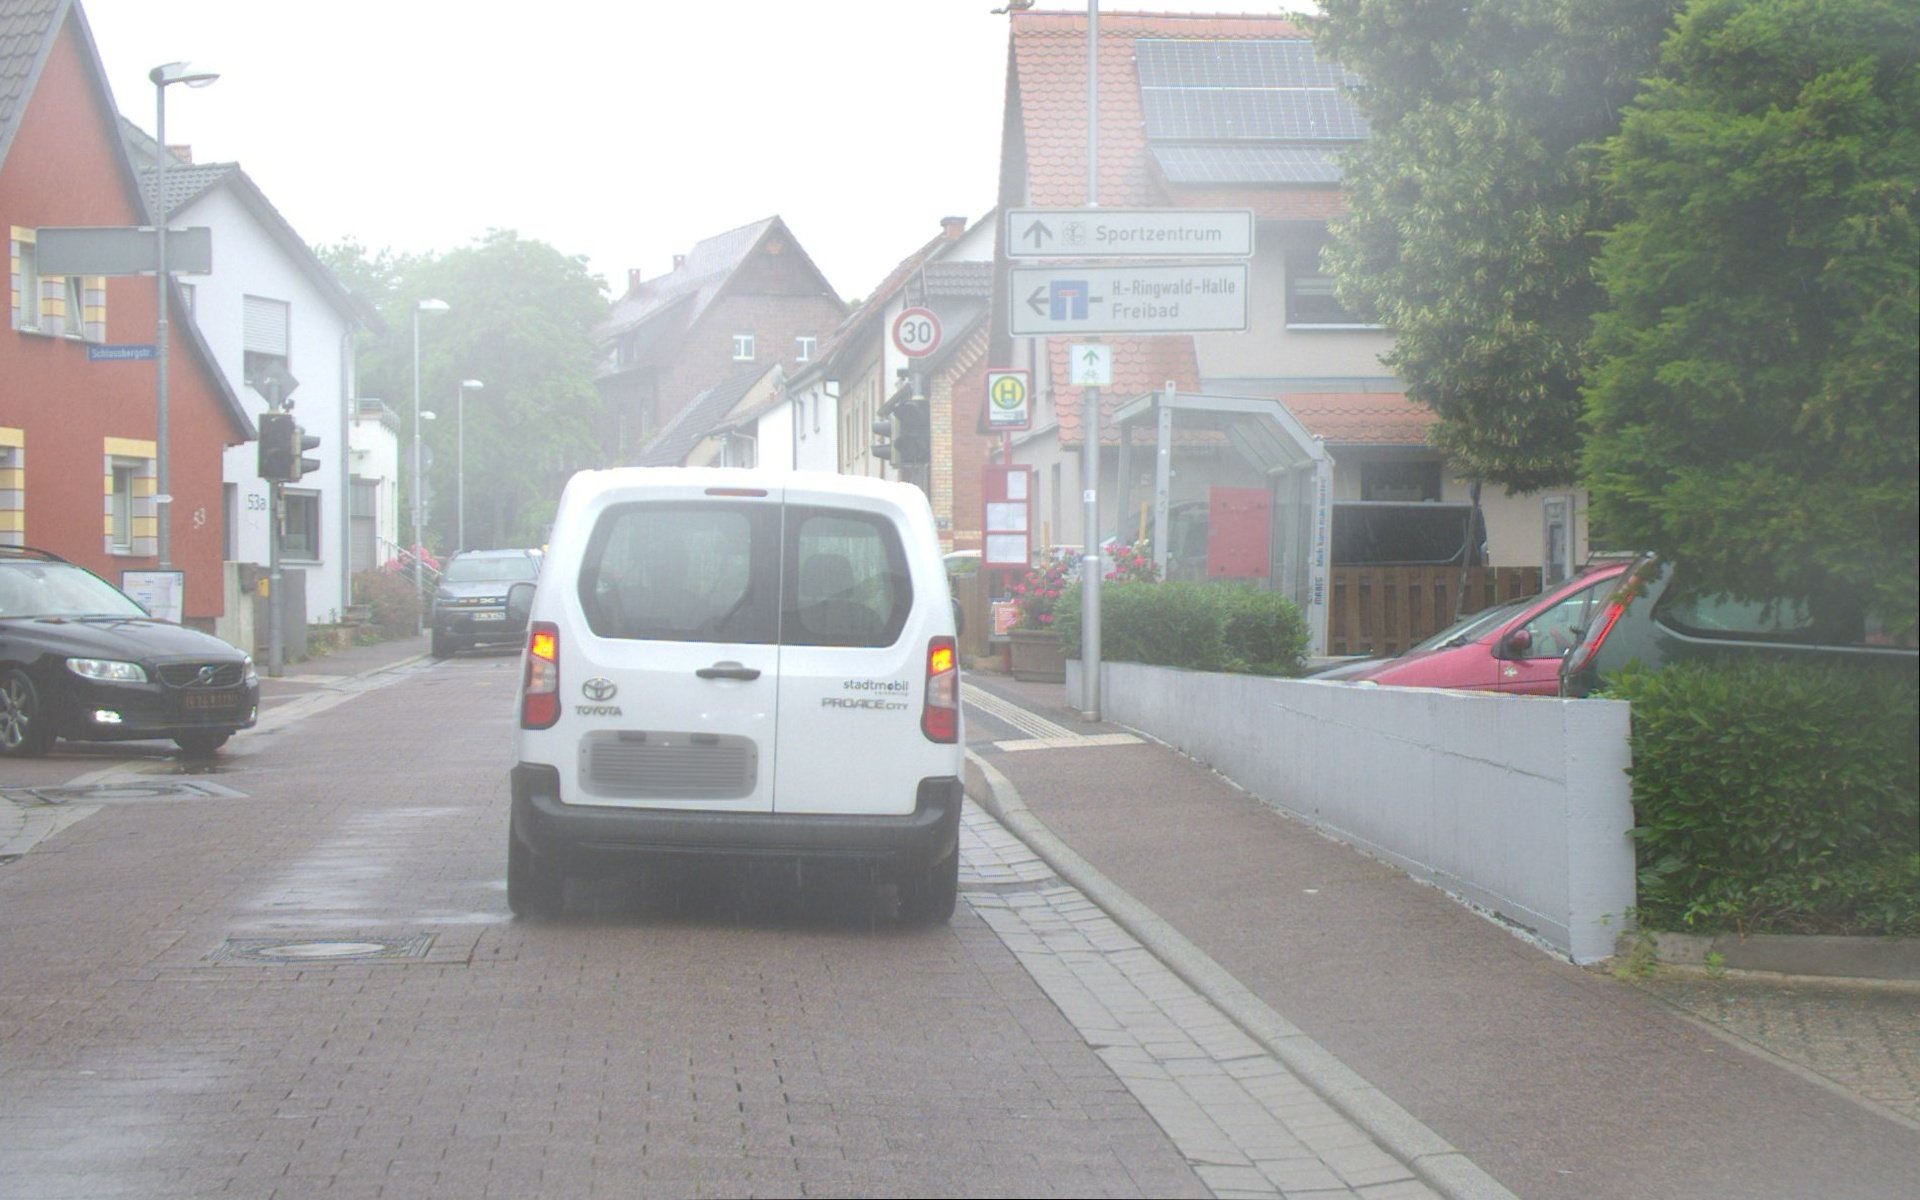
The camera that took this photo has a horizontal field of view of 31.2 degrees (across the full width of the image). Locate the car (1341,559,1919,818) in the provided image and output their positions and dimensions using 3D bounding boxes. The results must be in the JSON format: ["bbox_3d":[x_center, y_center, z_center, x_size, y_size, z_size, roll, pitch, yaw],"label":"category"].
[{"bbox_3d":[4.564,0.531,22.260,4.070,1.584,1.857,0,1,10],"label":"car"}]

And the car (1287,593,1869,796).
[{"bbox_3d":[4.380,0.661,24.826,3.952,1.374,1.751,0,1,3],"label":"car"}]

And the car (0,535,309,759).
[{"bbox_3d":[-6.994,0.268,24.857,4.307,1.472,1.847,2,0,30],"label":"car"}]

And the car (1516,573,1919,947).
[{"bbox_3d":[4.485,0.632,14.334,4.230,1.475,1.694,0,0,11],"label":"car"}]

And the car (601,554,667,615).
[{"bbox_3d":[-10.693,-0.539,112.669,1.993,1.741,4.002,2,3,-7],"label":"car"}]

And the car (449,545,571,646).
[{"bbox_3d":[-7.861,-0.075,60.342,1.748,1.631,4.419,-3,0,-3],"label":"car"}]

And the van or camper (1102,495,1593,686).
[{"bbox_3d":[4.267,-0.108,38.266,5.067,1.916,1.876,2,0,-8],"label":"van or camper"}]

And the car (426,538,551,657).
[{"bbox_3d":[-7.354,-0.078,53.916,1.812,1.773,4.018,-1,1,-6],"label":"car"}]

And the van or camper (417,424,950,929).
[{"bbox_3d":[-1.232,0.275,14.910,1.943,1.845,4.001,2,0,-6],"label":"van or camper"}]
